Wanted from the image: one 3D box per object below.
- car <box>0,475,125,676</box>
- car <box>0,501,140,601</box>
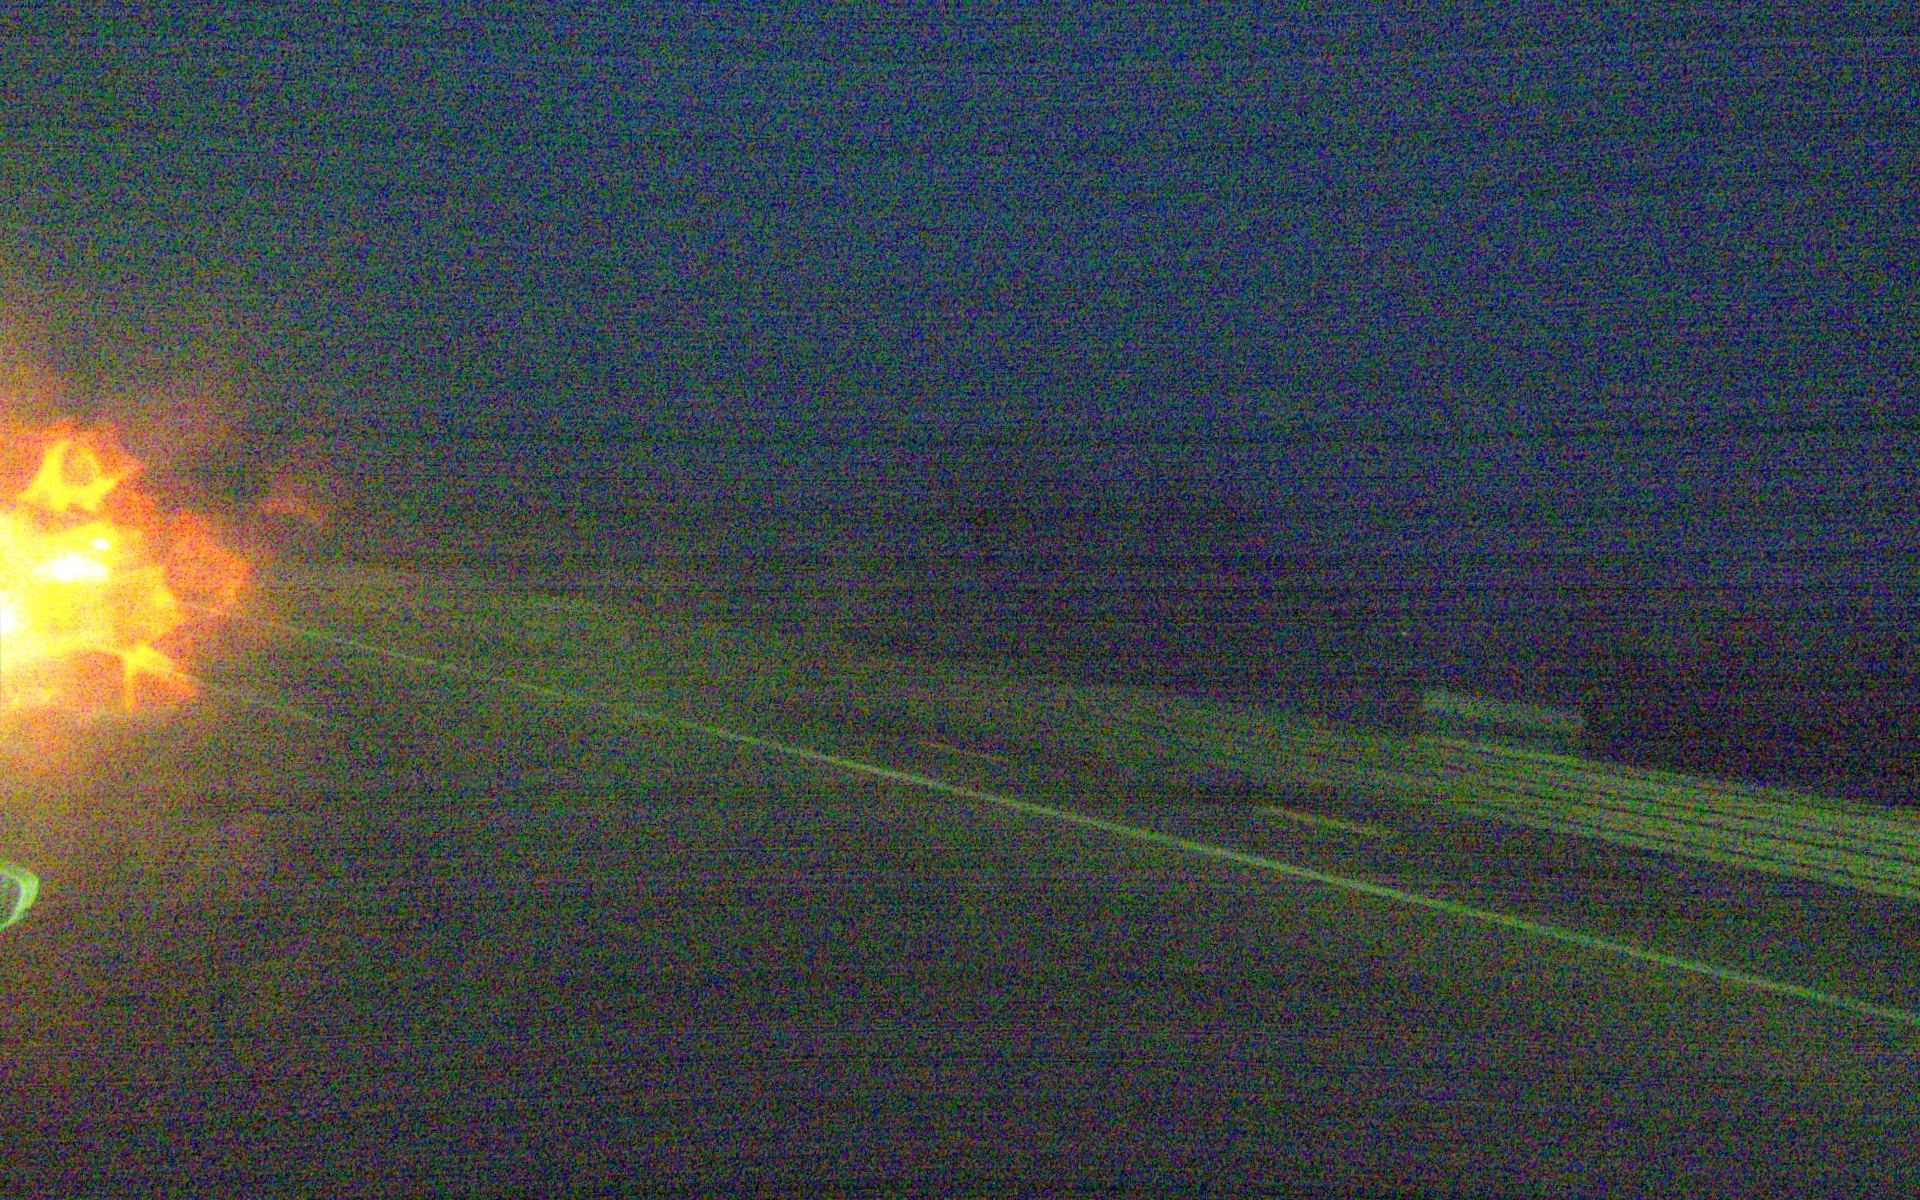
[{"bbox_3d":[-9.656,-0.381,9.153,4.420,1.594,1.743,5,-1,32],"label":"car"},{"bbox_3d":[-17.177,-0.986,18.690,3.945,1.521,1.642,6,0,30],"label":"car"}]
